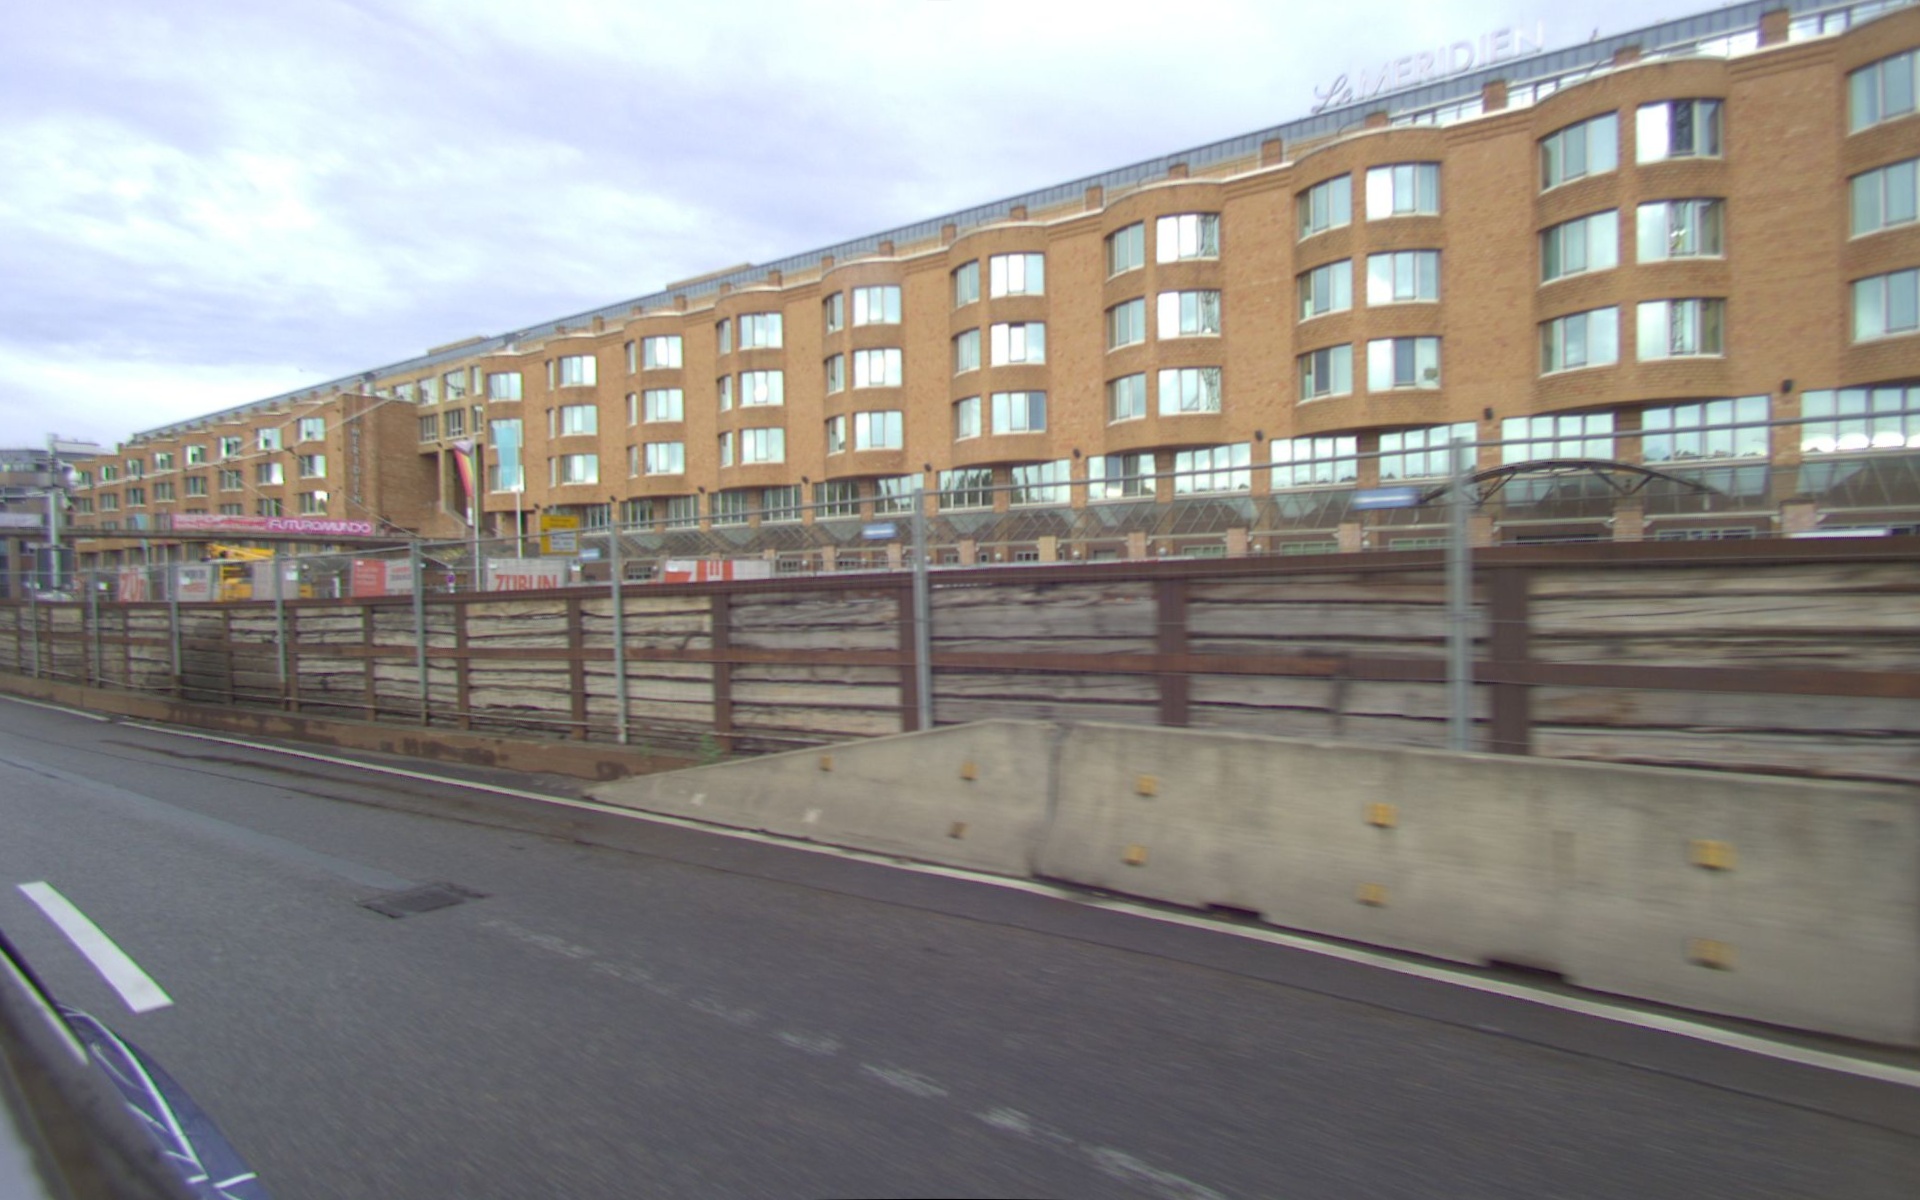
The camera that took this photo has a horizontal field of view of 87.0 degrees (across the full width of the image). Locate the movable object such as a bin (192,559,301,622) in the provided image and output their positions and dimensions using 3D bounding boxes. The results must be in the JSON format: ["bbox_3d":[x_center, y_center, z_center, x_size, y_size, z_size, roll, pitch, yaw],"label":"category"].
[{"bbox_3d":[-28.404,-0.317,40.286,4.279,2.295,2.011,-1,-3,32],"label":"movable object such as a bin"}]
